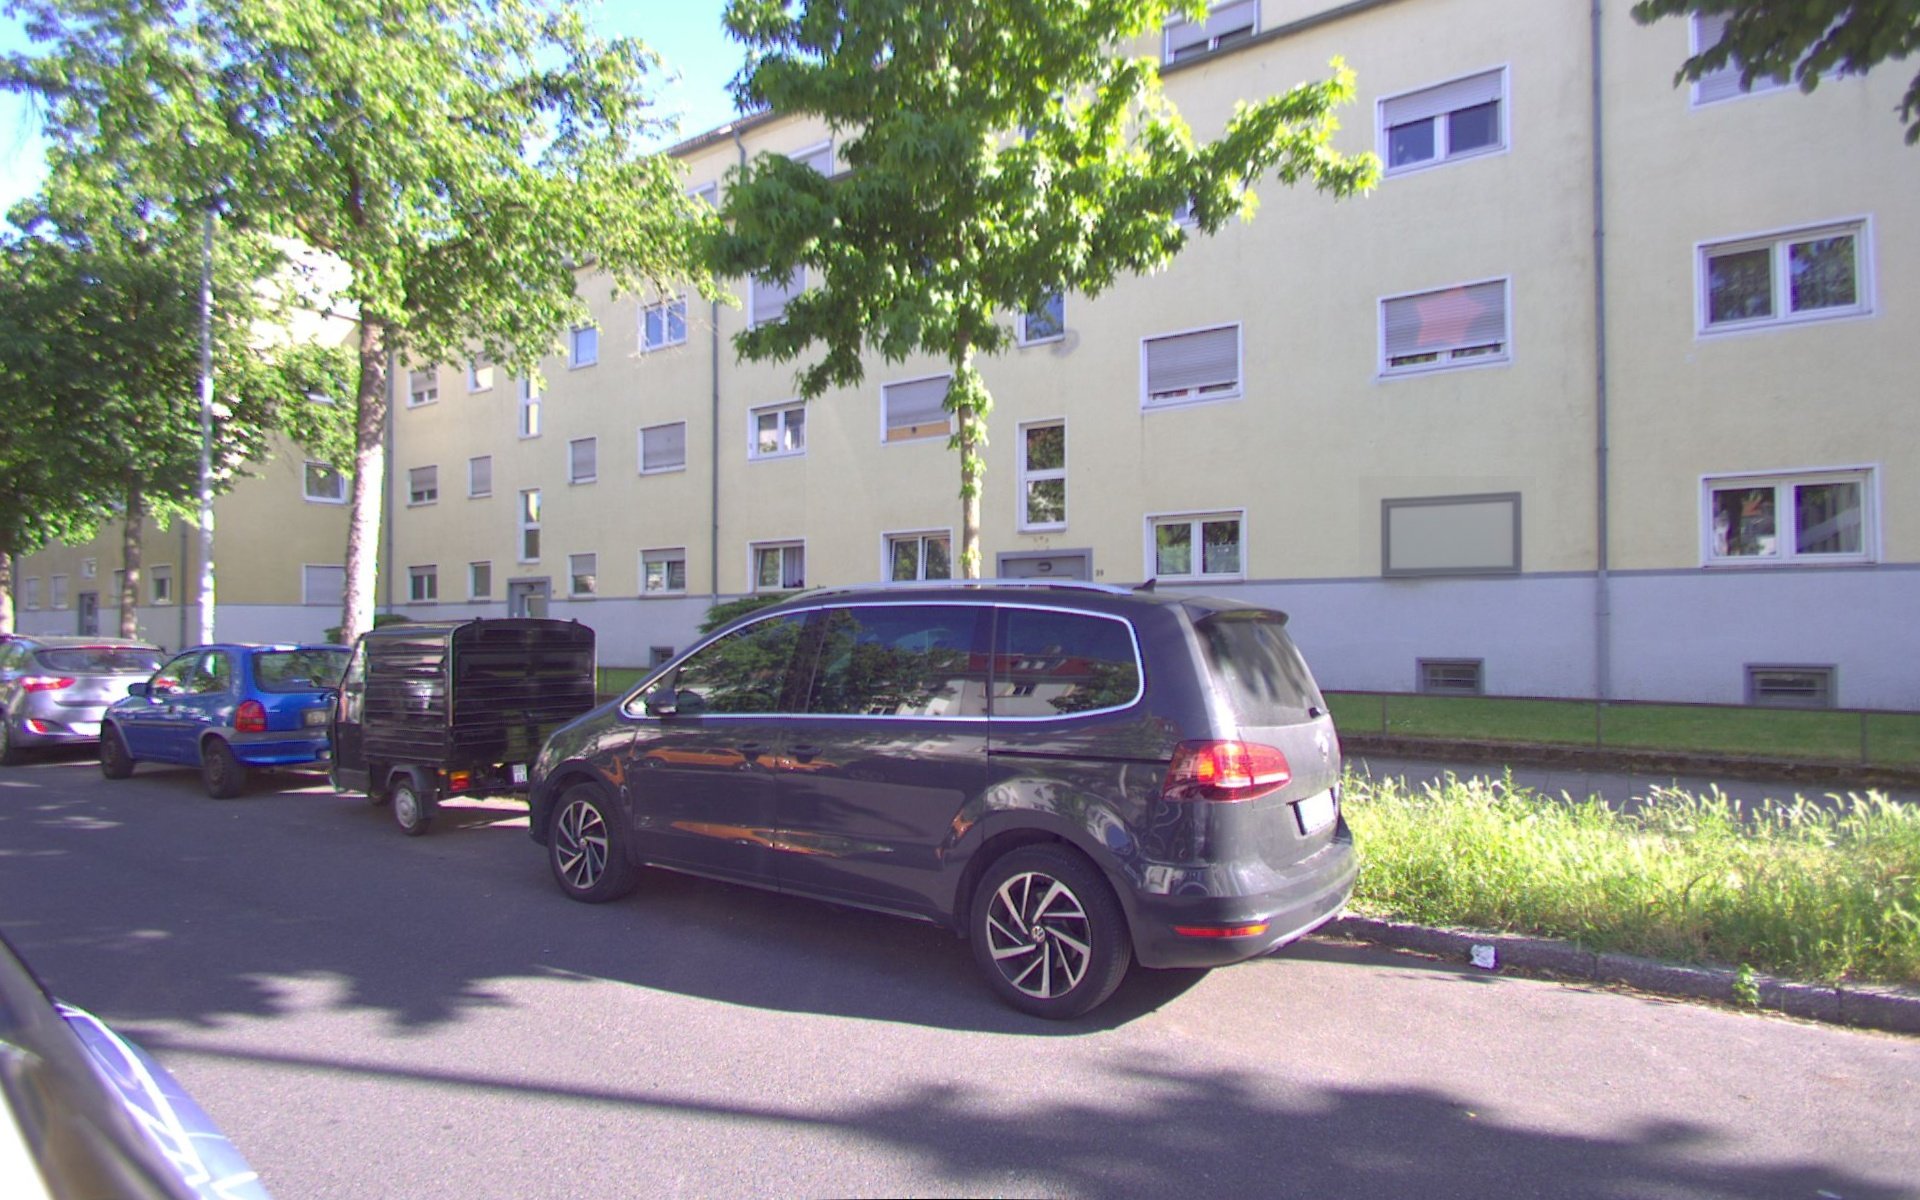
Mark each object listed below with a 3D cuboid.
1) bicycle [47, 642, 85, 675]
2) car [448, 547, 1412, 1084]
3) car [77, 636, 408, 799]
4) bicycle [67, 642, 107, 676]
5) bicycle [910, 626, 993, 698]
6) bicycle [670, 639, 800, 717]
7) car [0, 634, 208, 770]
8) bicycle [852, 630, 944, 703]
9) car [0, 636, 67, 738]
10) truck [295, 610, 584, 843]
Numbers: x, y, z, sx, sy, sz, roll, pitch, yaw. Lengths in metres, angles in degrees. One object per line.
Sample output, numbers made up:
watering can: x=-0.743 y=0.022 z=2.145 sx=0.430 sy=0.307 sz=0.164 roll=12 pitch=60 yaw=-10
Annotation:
bicycle: x=-28.750 y=1.880 z=32.545 sx=1.744 sy=1.034 sz=0.535 roll=-2 pitch=-2 yaw=36
car: x=-0.440 y=0.791 z=5.384 sx=4.963 sy=1.693 sz=1.834 roll=-2 pitch=-5 yaw=34
car: x=-7.449 y=1.079 z=10.428 sx=3.715 sy=1.406 sz=1.509 roll=-1 pitch=-2 yaw=33
bicycle: x=-27.153 y=1.825 z=31.467 sx=1.744 sy=1.034 sz=0.531 roll=-2 pitch=-2 yaw=36
bicycle: x=-0.124 y=1.084 z=18.188 sx=0.486 sy=1.154 sz=1.822 roll=0 pitch=1 yaw=36
bicycle: x=-3.325 y=1.141 z=14.971 sx=1.825 sy=1.089 sz=0.485 roll=-1 pitch=1 yaw=10
car: x=-11.573 y=1.188 z=12.947 sx=4.678 sy=1.455 sz=1.776 roll=-2 pitch=-4 yaw=36
bicycle: x=-1.016 y=1.084 z=17.050 sx=0.486 sy=1.089 sz=1.822 roll=0 pitch=1 yaw=36
car: x=-16.096 y=1.340 z=16.255 sx=4.258 sy=1.527 sz=1.606 roll=-2 pitch=-4 yaw=35
truck: x=-4.192 y=0.903 z=8.080 sx=2.427 sy=1.589 sz=1.074 roll=-2 pitch=-2 yaw=36
